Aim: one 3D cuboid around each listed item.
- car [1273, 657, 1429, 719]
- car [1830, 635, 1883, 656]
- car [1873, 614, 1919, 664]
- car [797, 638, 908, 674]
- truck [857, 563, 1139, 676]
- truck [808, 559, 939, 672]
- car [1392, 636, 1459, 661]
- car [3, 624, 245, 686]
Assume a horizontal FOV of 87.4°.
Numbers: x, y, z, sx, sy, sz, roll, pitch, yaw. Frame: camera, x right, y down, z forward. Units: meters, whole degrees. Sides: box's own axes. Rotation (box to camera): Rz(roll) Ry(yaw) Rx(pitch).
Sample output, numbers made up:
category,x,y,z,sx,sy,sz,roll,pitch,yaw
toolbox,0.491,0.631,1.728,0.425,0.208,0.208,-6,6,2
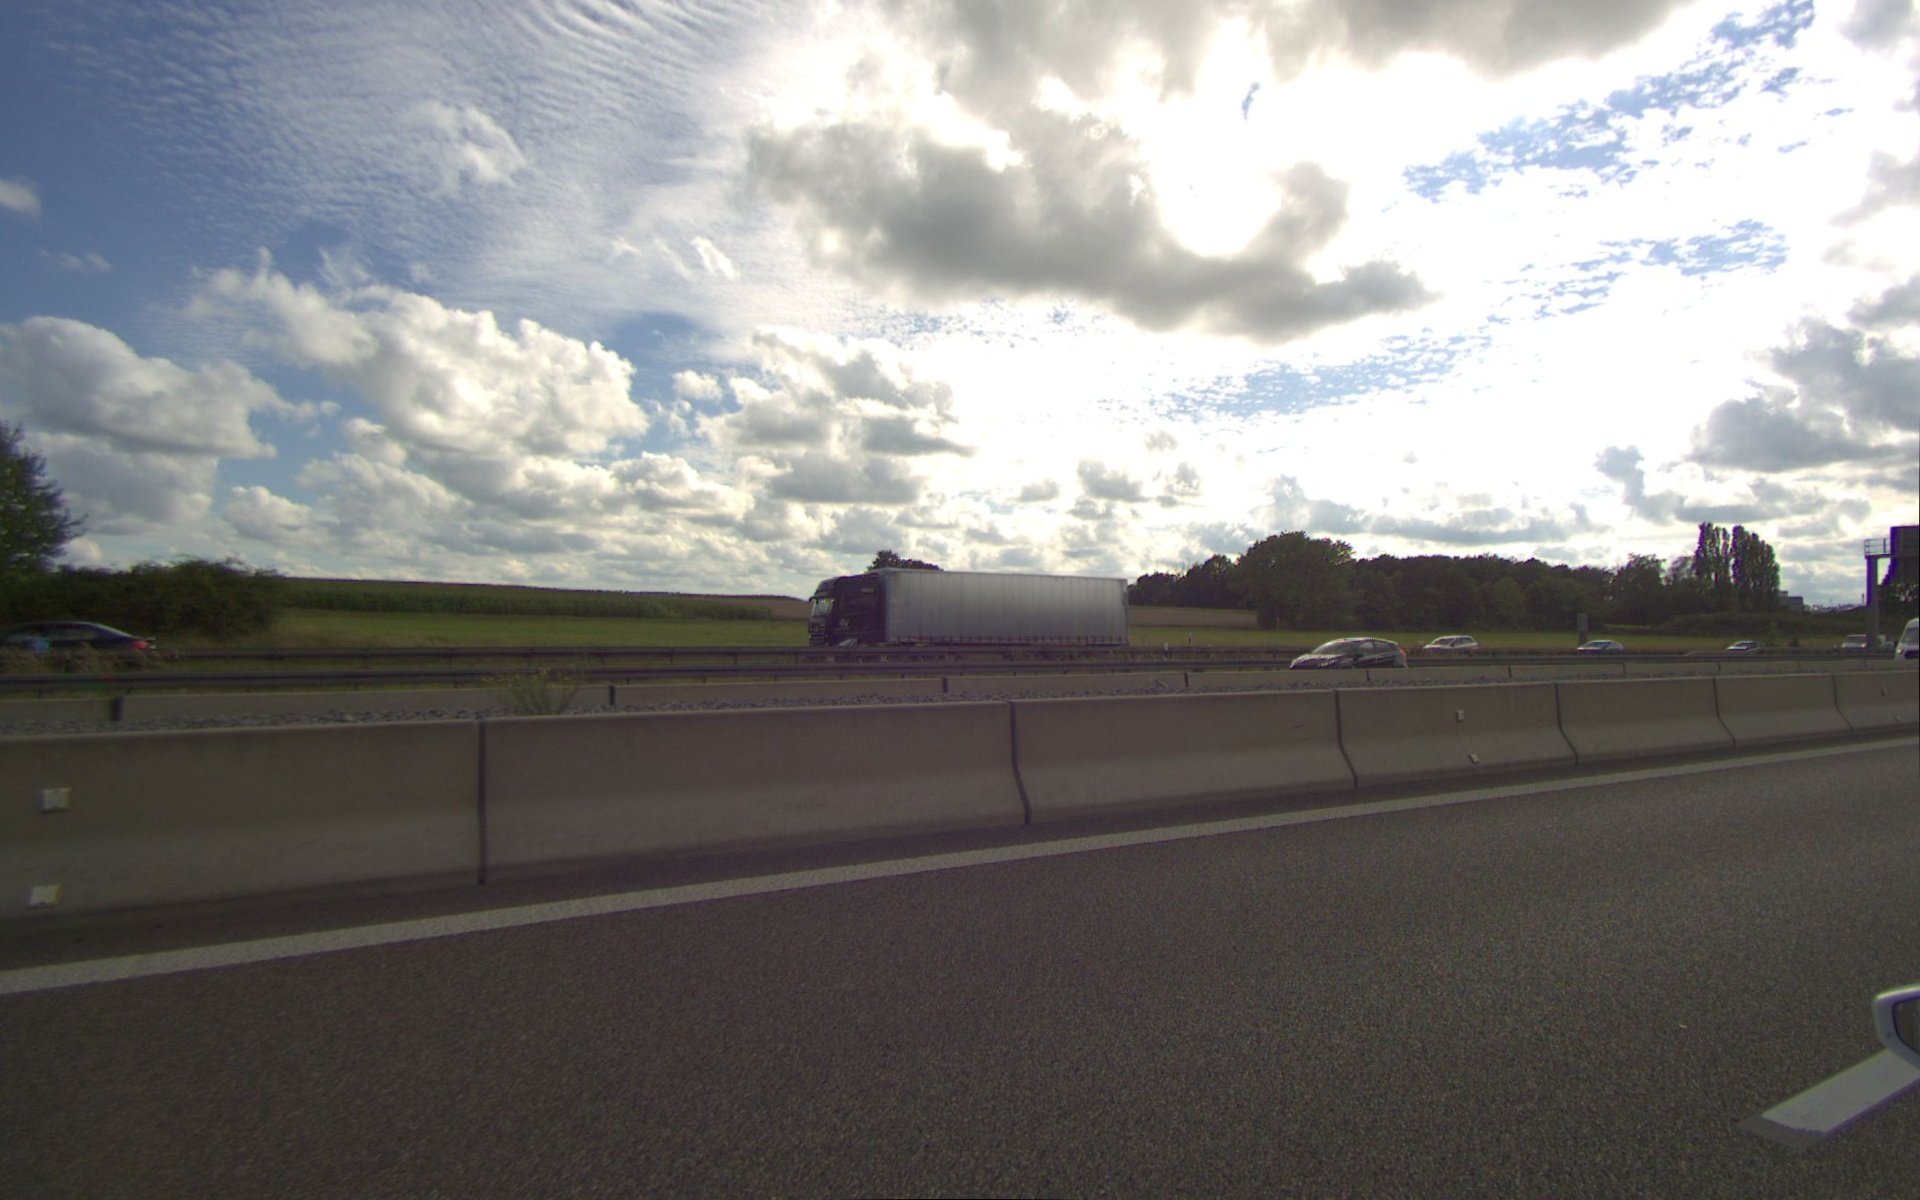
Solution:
category,x,y,z,sx,sy,sz,roll,pitch,yaw
car,11.415,2.506,29.218,4.662,1.552,1.755,1,-1,-31
car,80.028,4.038,89.613,5.570,1.722,1.983,2,-1,-31
car,41.086,1.650,42.234,5.764,1.993,2.345,1,-1,-30
car,-4.227,2.188,39.661,4.063,1.330,1.601,1,-1,-30
truck,2.130,1.017,48.047,13.960,4.866,3.060,2,-1,-30
truck,-3.845,0.702,44.567,5.011,4.720,3.033,1,-1,-29
car,29.797,3.090,64.253,4.401,1.554,1.720,2,-1,-31
car,-21.041,1.362,25.555,4.469,1.428,1.706,1,-1,-31
